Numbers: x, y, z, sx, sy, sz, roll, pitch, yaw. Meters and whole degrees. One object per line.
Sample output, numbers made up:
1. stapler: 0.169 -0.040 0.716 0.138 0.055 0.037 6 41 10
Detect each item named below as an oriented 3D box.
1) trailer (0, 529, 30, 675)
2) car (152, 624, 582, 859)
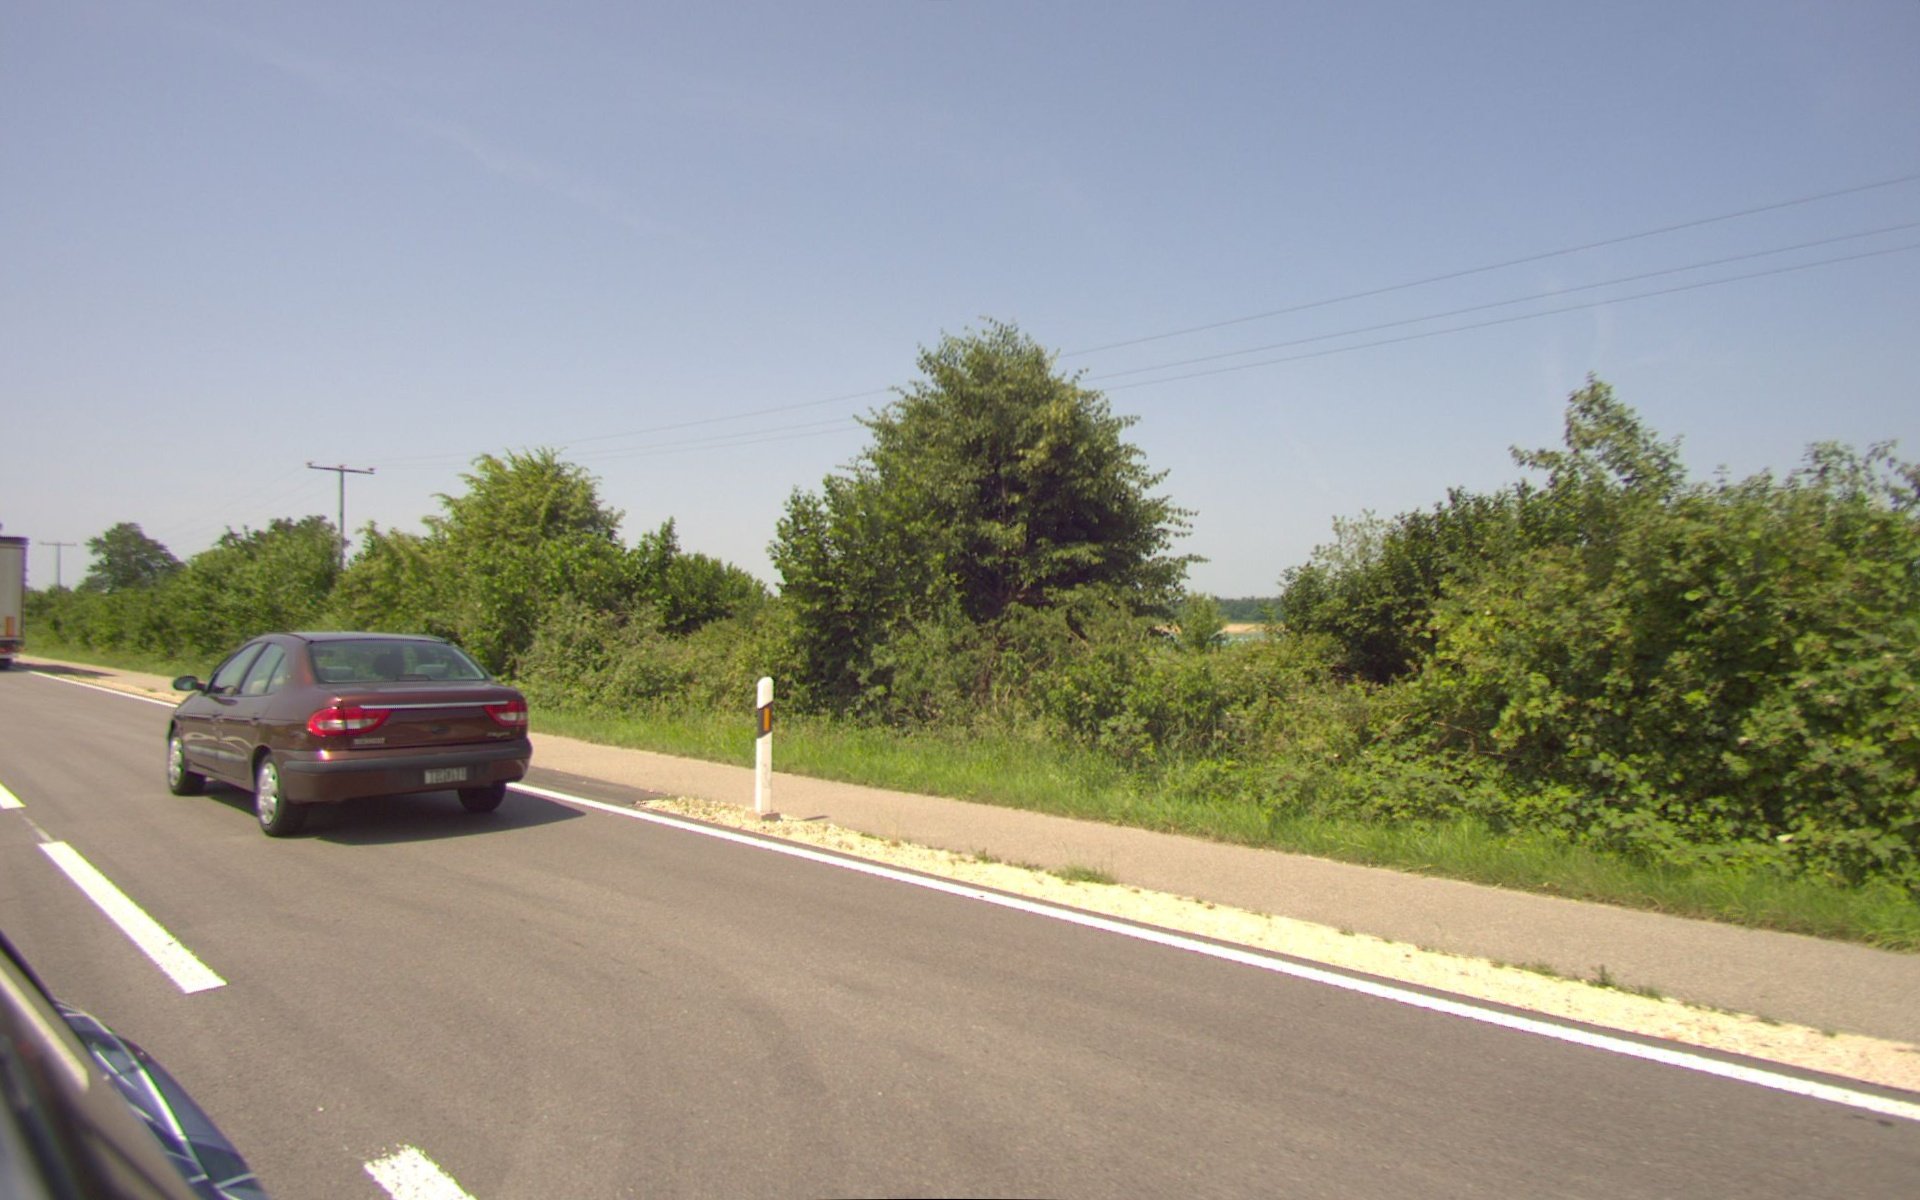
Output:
1. trailer: -34.060 0.157 33.938 13.803 4.298 2.688 -1 -3 41
2. car: -4.880 0.922 8.095 4.042 1.417 1.677 -1 -3 40
